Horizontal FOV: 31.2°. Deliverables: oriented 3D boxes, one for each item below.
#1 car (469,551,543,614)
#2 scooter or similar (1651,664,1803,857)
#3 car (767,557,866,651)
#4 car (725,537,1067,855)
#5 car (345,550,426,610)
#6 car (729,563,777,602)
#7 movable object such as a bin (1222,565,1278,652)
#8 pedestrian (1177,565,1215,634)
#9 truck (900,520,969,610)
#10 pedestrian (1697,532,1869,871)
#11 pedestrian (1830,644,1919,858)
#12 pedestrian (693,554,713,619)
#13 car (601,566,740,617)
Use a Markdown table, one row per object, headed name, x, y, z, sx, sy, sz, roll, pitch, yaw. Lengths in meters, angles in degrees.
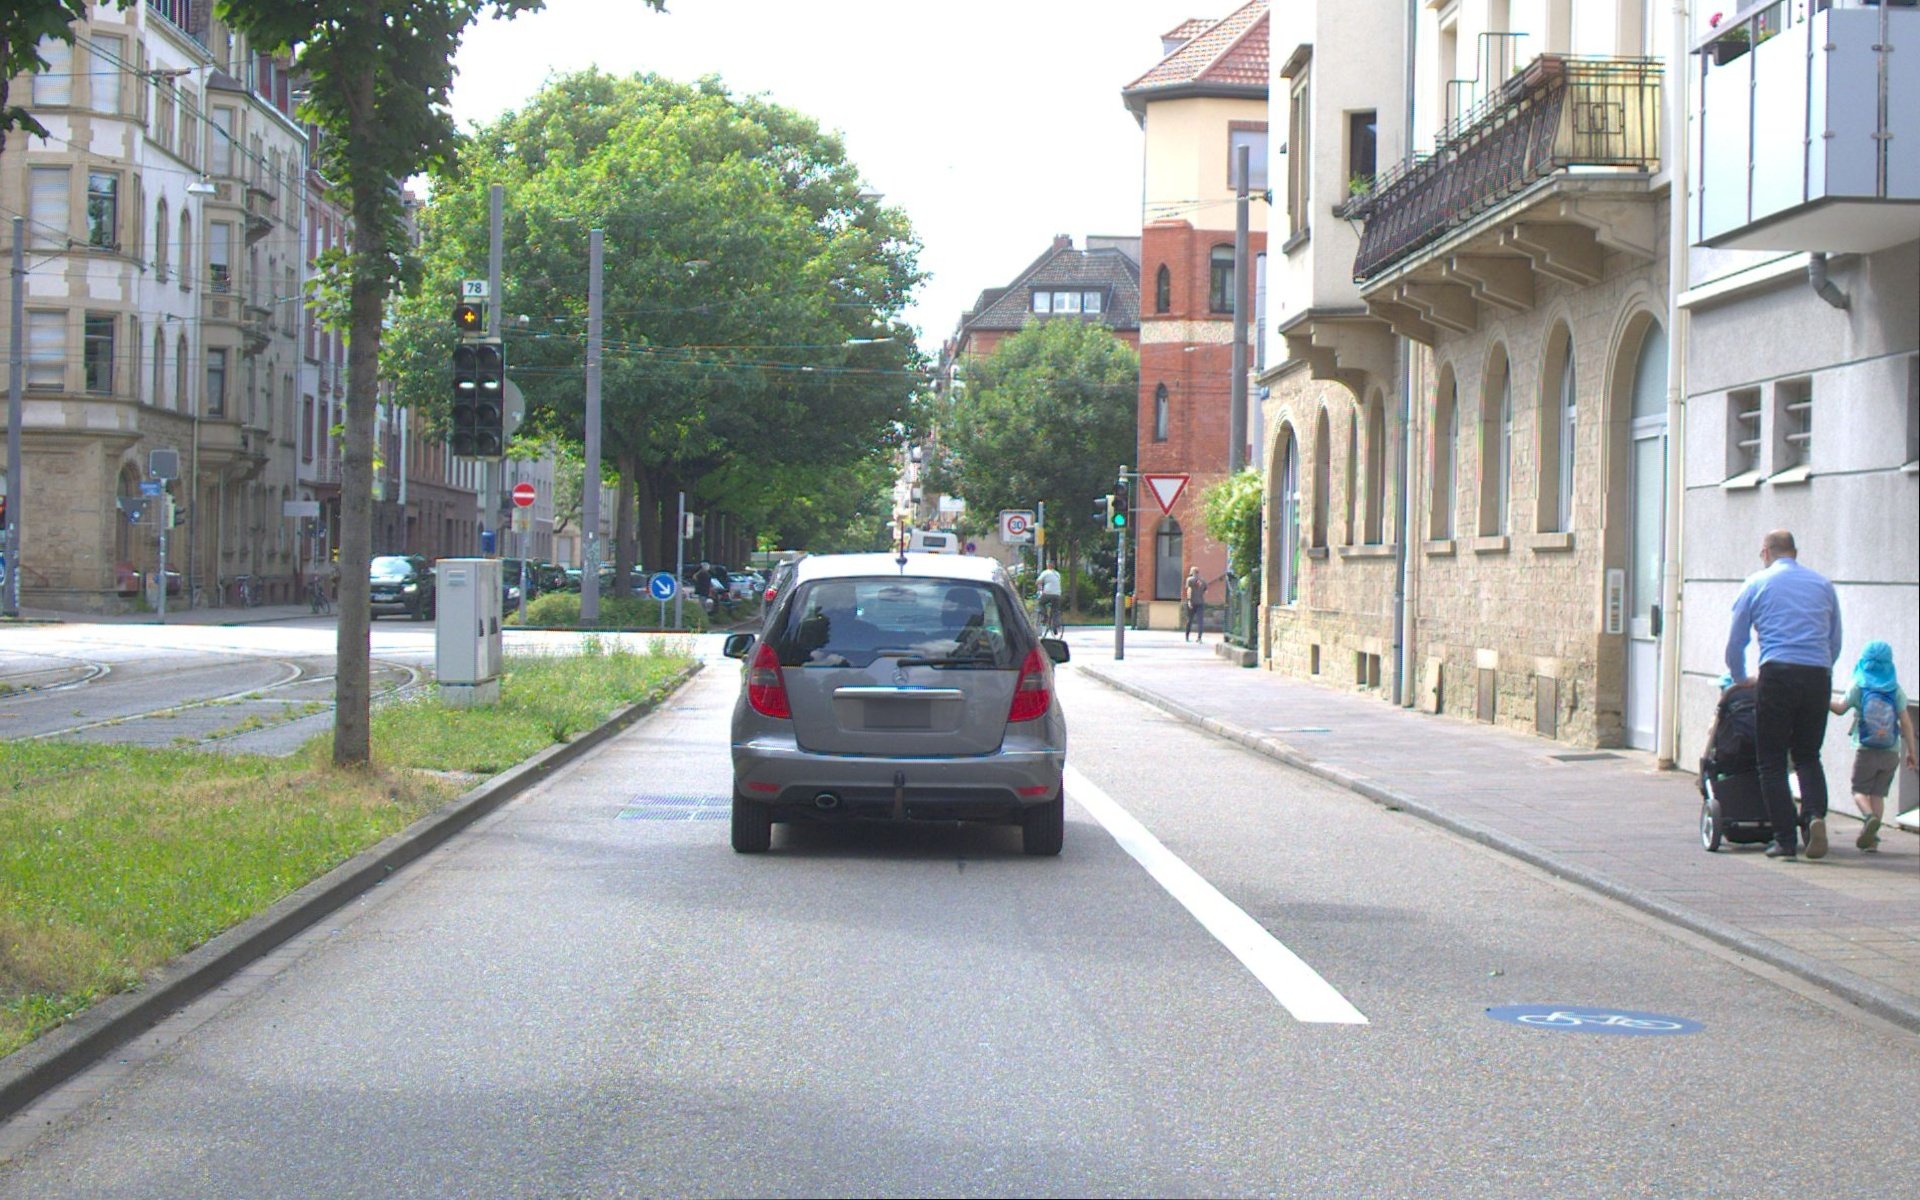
| name | x | y | z | sx | sy | sz | roll | pitch | yaw |
| --- | --- | --- | --- | --- | --- | --- | --- | --- | --- |
| car | -12.735 | -0.489 | 96.560 | 1.993 | 1.722 | 4.001 | 0 | 0 | -7 |
| scooter or similar | 4.277 | 0.885 | 19.207 | 0.592 | 0.998 | 0.905 | -3 | 1 | 0 |
| car | -2.685 | 0.062 | 64.991 | 1.722 | 1.700 | 3.677 | 1 | 0 | 0 |
| car | -0.340 | 0.473 | 19.292 | 1.722 | 1.600 | 3.677 | 1 | 0 | 0 |
| car | -15.860 | -0.553 | 95.027 | 1.993 | 1.612 | 4.001 | 0 | 0 | -7 |
| car | -8.453 | -0.726 | 140.523 | 1.752 | 1.512 | 3.499 | 1 | 0 | -1 |
| movable object such as a bin | 4.942 | 0.140 | 58.638 | 0.714 | 1.467 | 0.983 | 0 | 0 | -10 |
| pedestrian | 5.714 | -0.010 | 83.297 | 0.869 | 1.651 | 0.736 | 1 | 0 | 3 |
| truck | -0.832 | -1.184 | 116.322 | 2.123 | 2.960 | 4.000 | 1 | 0 | 2 |
| pedestrian | 4.373 | 0.523 | 18.310 | 0.621 | 1.733 | 0.877 | -3 | 0 | 0 |
| pedestrian | 5.016 | 0.813 | 18.643 | 0.456 | 1.131 | 0.494 | 0 | 0 | 0 |
| pedestrian | -6.957 | -0.367 | 93.124 | 0.493 | 1.719 | 0.654 | 1 | 0 | -6 |
| car | -8.257 | -0.249 | 97.903 | 1.969 | 1.334 | 3.999 | 1 | 1 | -40 |
